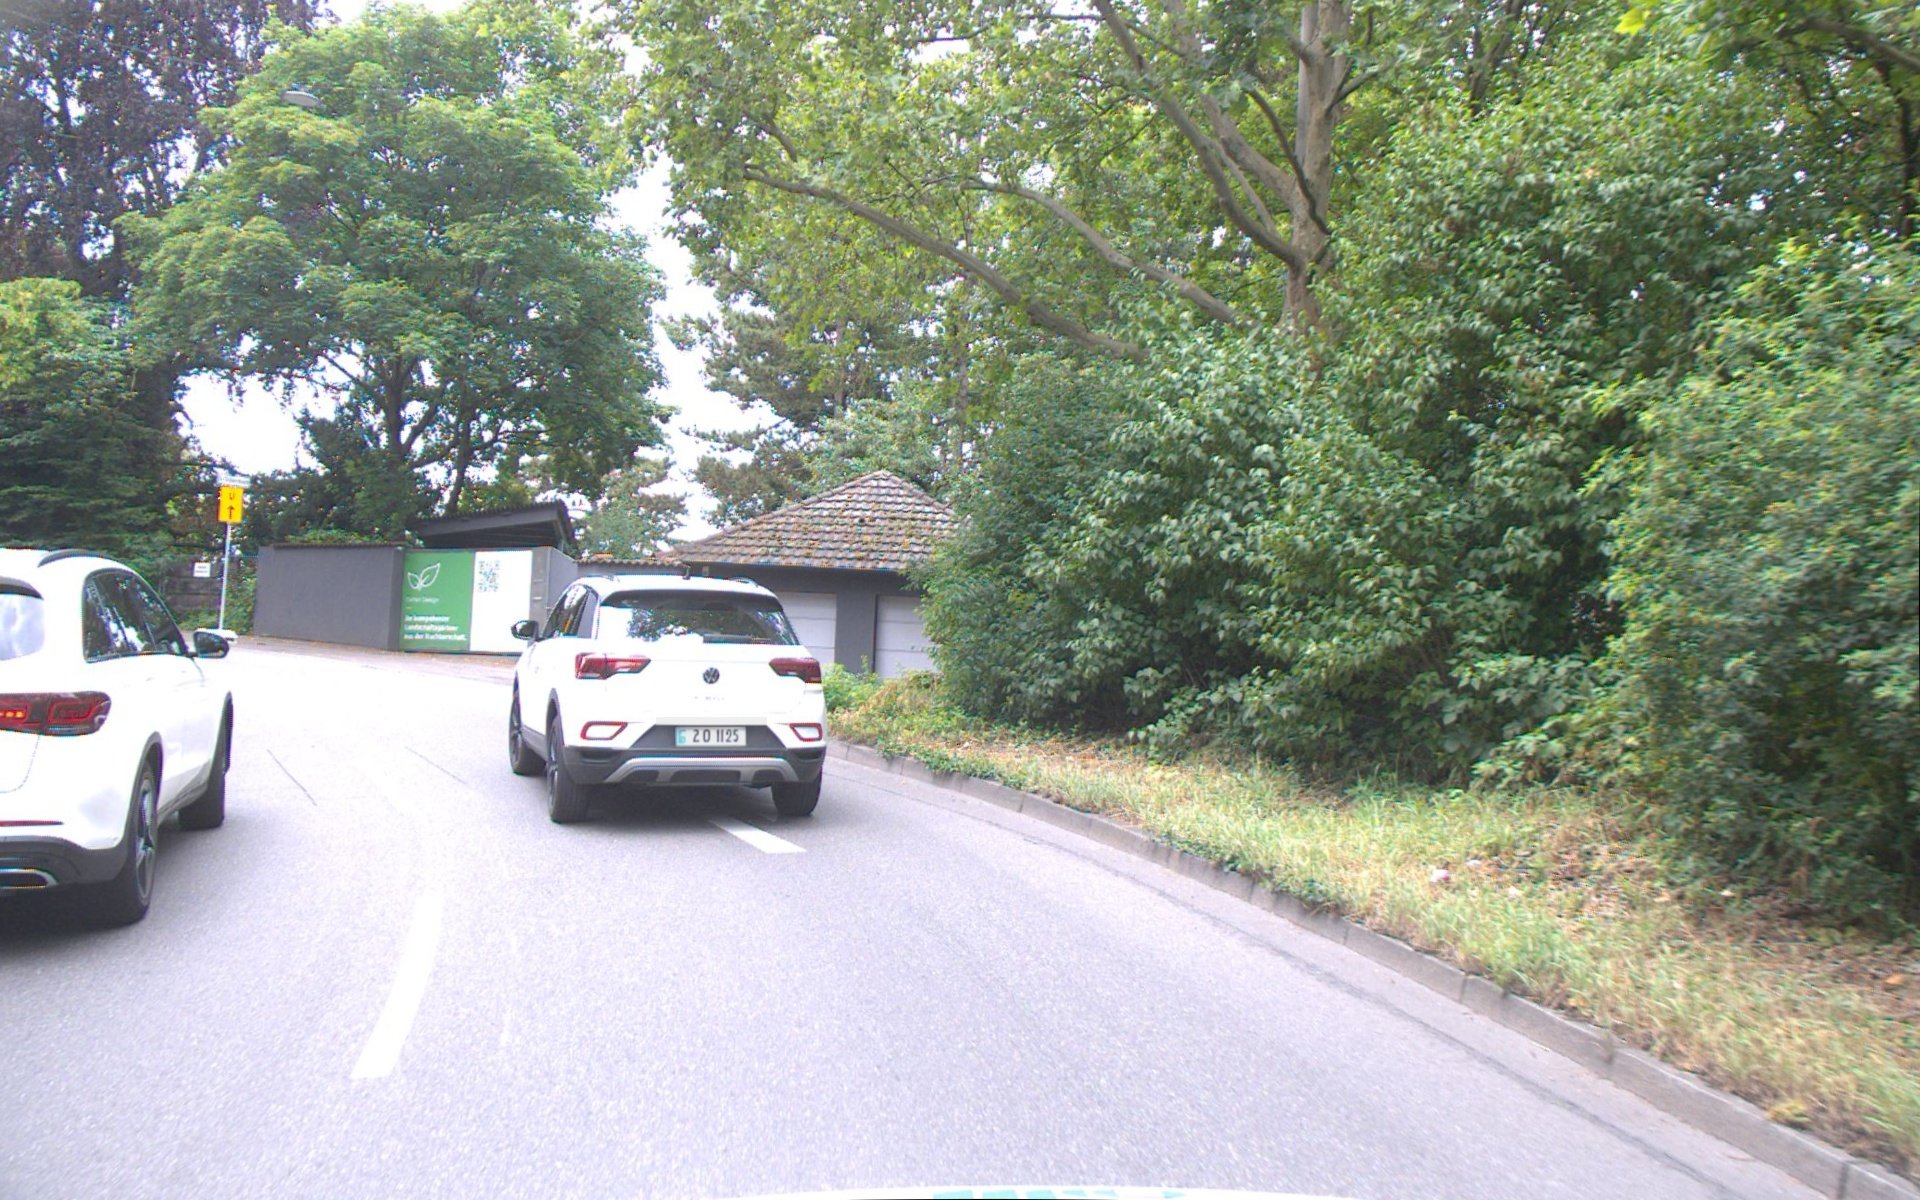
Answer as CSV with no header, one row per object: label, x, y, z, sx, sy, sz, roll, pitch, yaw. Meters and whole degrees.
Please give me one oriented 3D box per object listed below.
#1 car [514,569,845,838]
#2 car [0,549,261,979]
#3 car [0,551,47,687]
car,-2.221,0.581,12.054,1.728,1.580,4.315,1,1,-19
car,-4.802,0.586,8.347,1.829,1.633,4.650,0,1,-17
car,-13.286,0.093,20.775,4.697,1.560,1.858,5,2,44
